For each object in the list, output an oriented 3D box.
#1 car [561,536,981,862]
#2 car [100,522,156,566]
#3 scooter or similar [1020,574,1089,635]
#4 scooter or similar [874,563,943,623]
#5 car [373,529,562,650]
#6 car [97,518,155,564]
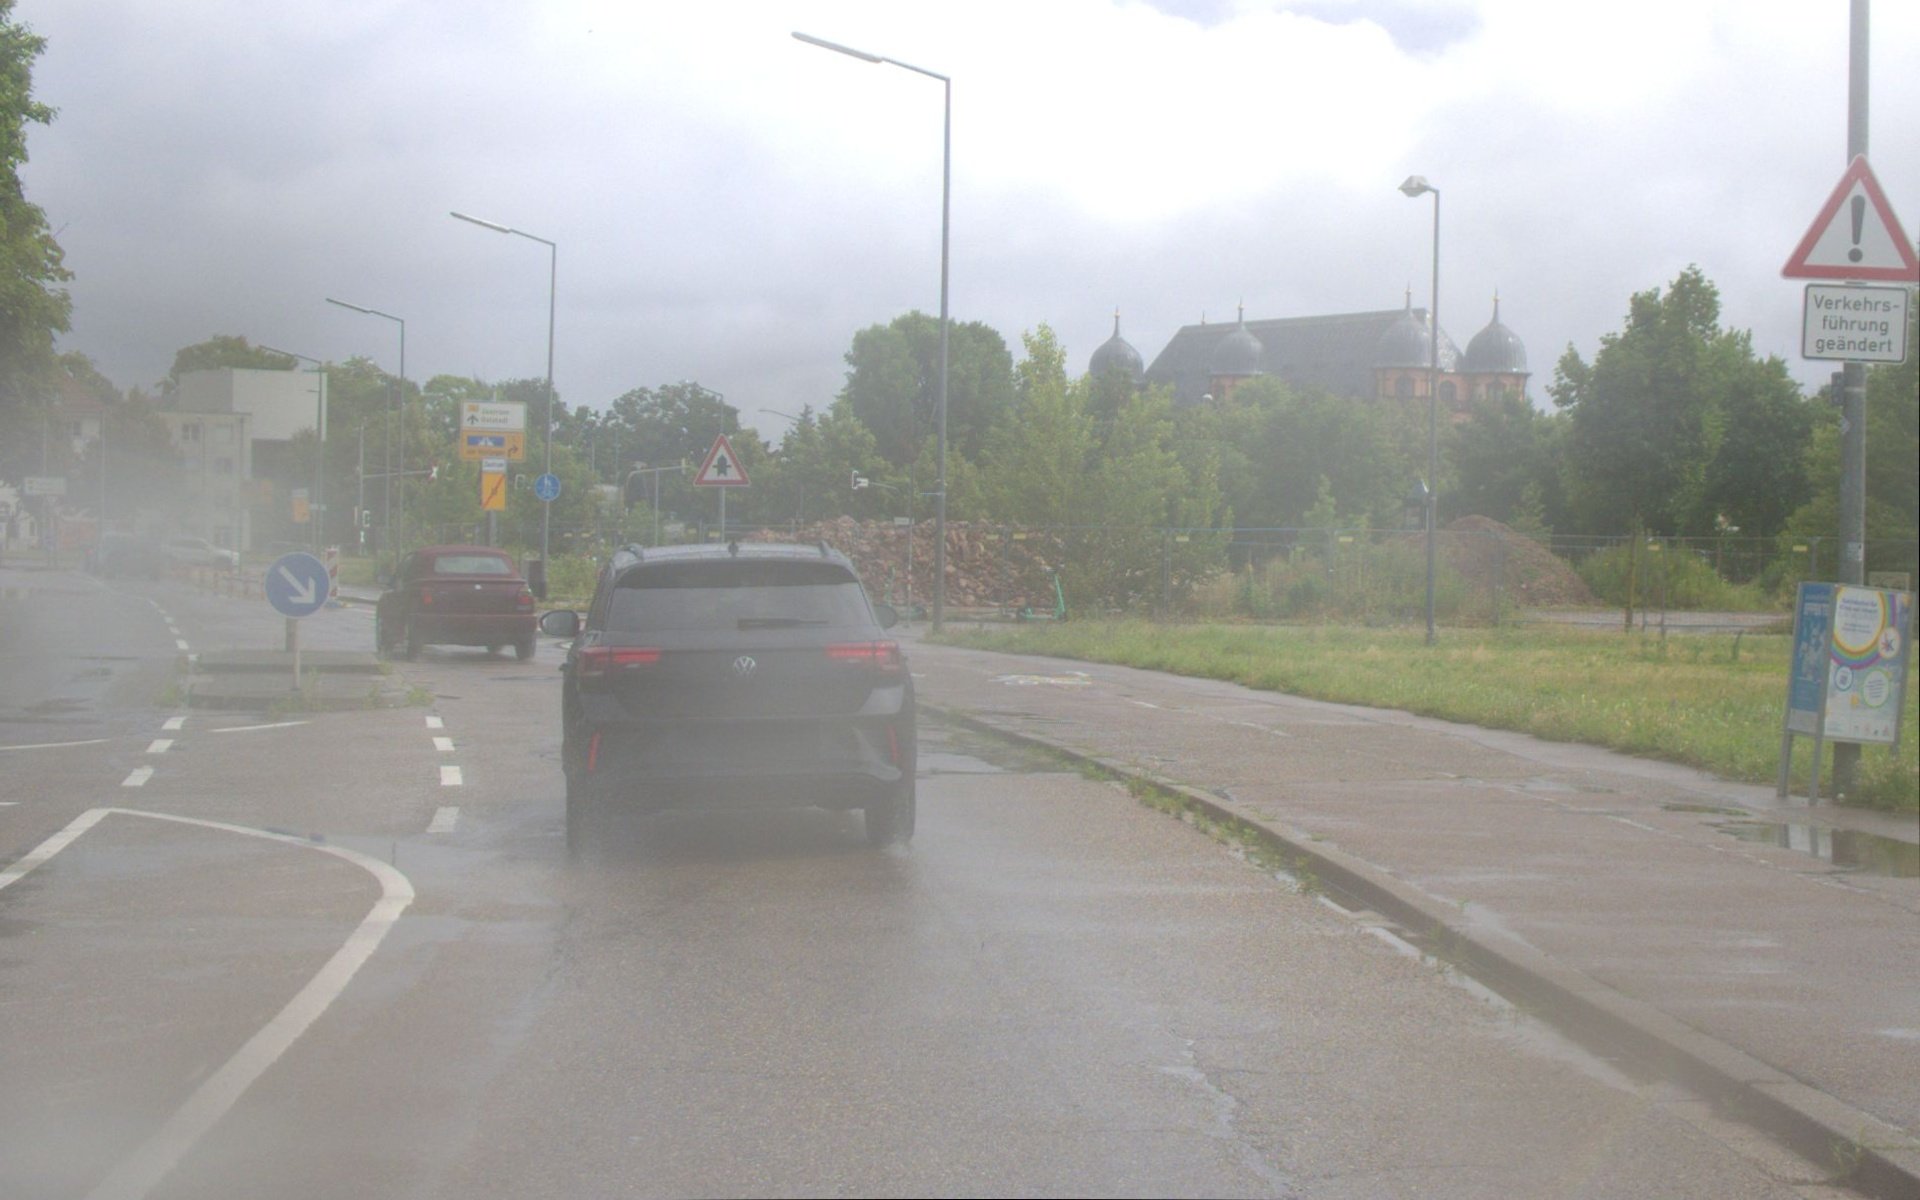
[{"bbox_3d":[-1.088,0.434,18.484,1.986,1.515,4.001,-1,1,-5],"label":"car"},{"bbox_3d":[-33.123,-2.242,136.813,1.995,1.697,4.017,1,1,-16],"label":"car"},{"bbox_3d":[1.986,0.090,71.977,1.282,1.183,0.502,5,2,25],"label":"scooter or similar"},{"bbox_3d":[-1.081,-0.148,72.435,1.282,1.183,0.502,5,2,25],"label":"scooter or similar"},{"bbox_3d":[-6.390,-0.134,44.282,1.841,1.437,4.001,-1,0,-16],"label":"car"},{"bbox_3d":[-30.520,-2.165,125.733,1.840,1.635,4.017,1,1,-16],"label":"car"}]
